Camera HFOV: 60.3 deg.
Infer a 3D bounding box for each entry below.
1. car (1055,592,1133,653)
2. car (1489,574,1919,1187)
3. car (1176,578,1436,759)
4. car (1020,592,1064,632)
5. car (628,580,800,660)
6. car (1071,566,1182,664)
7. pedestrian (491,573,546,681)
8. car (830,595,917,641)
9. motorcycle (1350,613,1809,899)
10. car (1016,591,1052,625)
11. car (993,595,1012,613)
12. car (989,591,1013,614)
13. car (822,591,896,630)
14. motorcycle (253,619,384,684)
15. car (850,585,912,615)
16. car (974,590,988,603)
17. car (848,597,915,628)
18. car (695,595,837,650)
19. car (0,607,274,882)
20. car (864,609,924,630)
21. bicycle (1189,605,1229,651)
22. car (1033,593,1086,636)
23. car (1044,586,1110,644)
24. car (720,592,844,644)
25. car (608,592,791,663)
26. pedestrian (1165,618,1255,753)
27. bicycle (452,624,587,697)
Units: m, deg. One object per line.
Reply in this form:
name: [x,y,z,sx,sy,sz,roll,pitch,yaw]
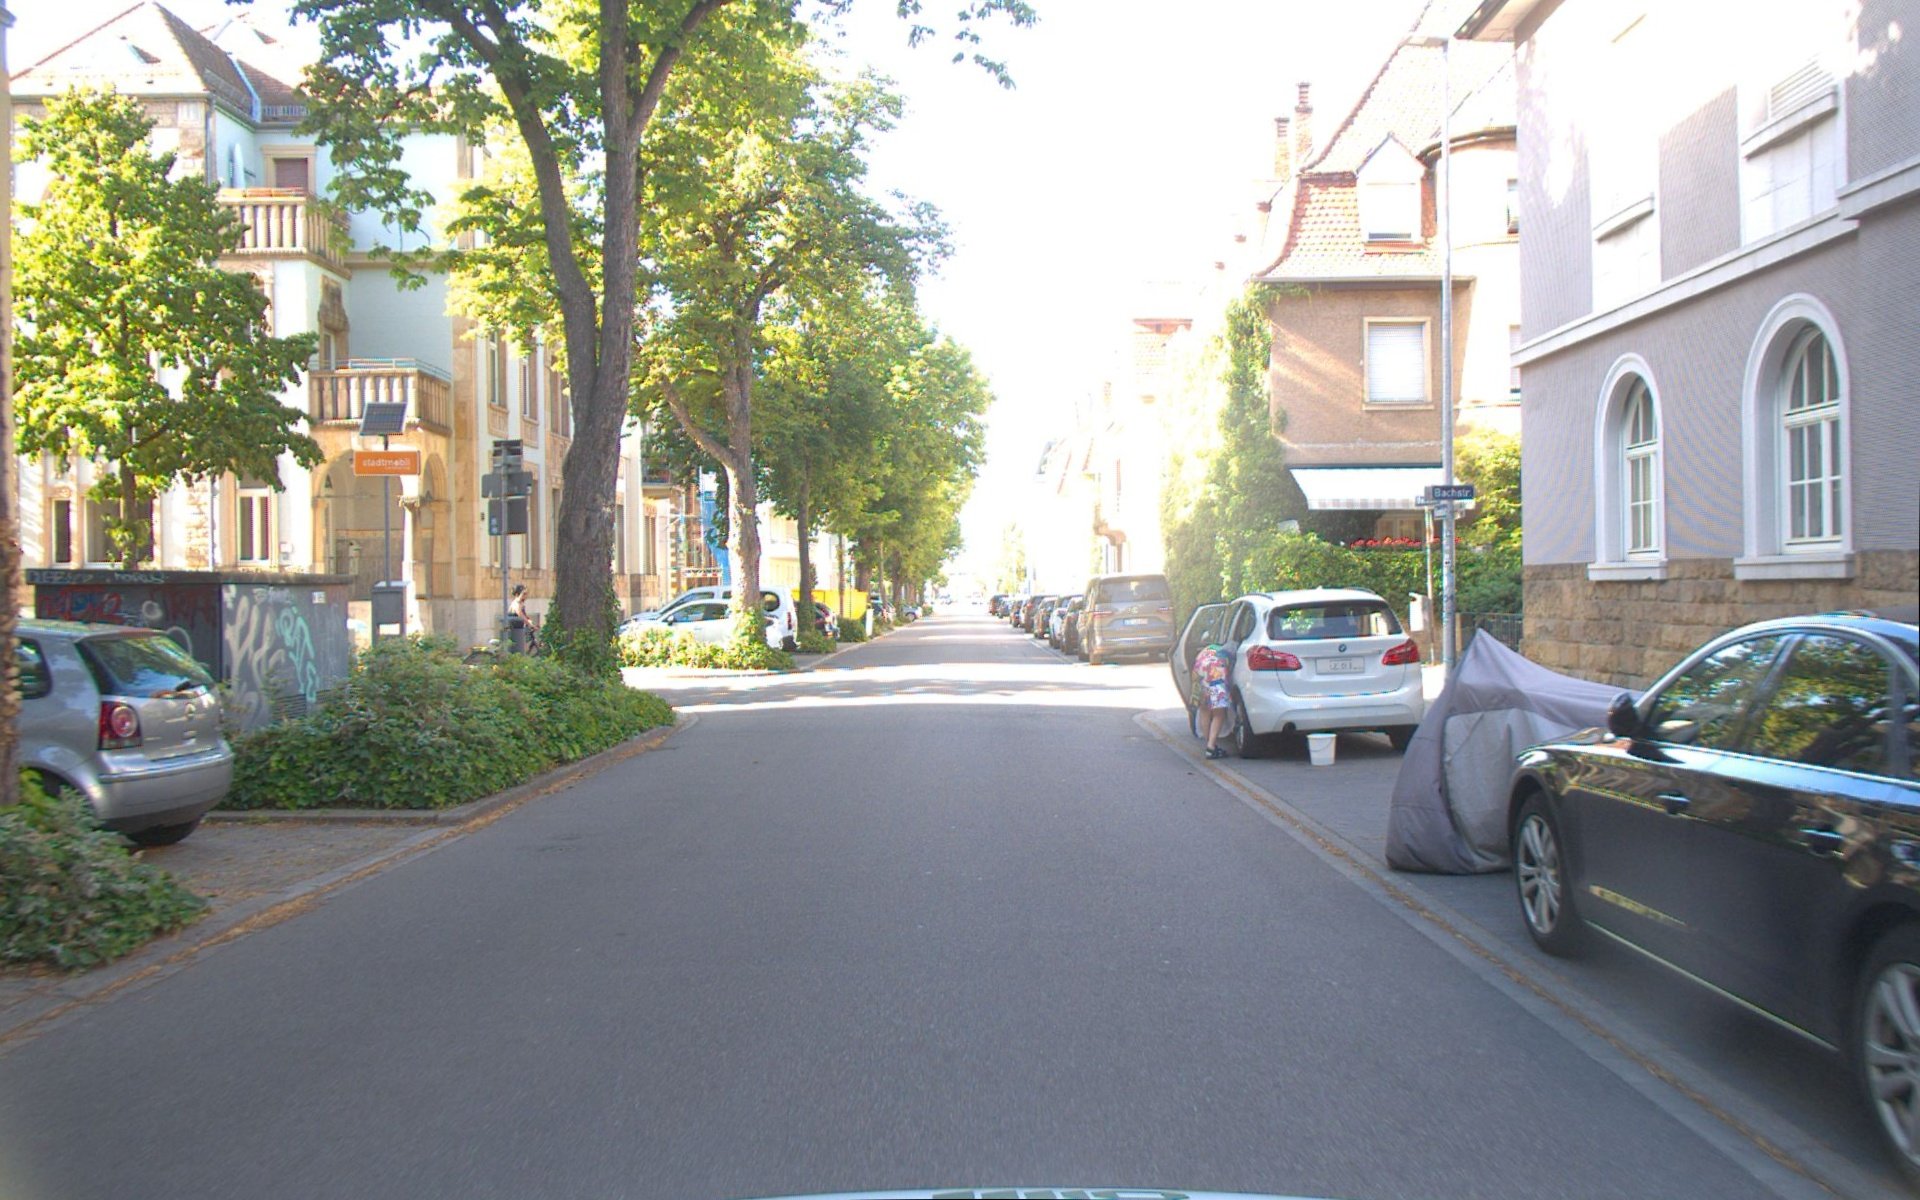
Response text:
car: [3.446,0.554,43.052,1.656,1.423,3.805,-4,0,0]
car: [3.337,0.690,5.307,1.816,1.519,4.608,-2,0,1]
car: [3.449,0.622,17.260,1.665,1.566,4.154,-3,0,-2]
car: [3.517,0.479,71.462,1.734,1.660,3.867,-1,0,1]
car: [-5.874,0.488,39.850,3.908,1.791,1.796,1,-1,-4]
car: [3.591,0.298,36.485,1.866,1.903,4.673,-4,0,0]
pedestrian: [-7.253,0.433,27.202,0.617,1.724,0.652,-2,0,4]
car: [-4.105,0.850,77.811,3.912,2.049,1.996,-1,-2,-8]
motorcycle: [3.309,0.775,8.918,2.154,1.362,0.919,-2,-1,33]
car: [3.730,0.370,83.857,1.734,1.660,3.867,-1,0,1]
car: [3.983,0.374,154.429,1.734,1.660,3.867,-1,0,1]
car: [3.097,0.184,125.552,1.734,1.660,3.867,-1,0,1]
car: [-5.533,0.575,90.463,3.912,2.049,1.996,-1,0,-8]
motorcycle: [-12.248,0.987,31.614,2.164,1.197,0.899,-1,-2,9]
car: [-5.298,-0.012,111.122,3.923,1.873,2.001,2,1,2]
car: [2.771,-0.441,217.392,1.734,1.660,3.867,-1,0,1]
car: [-4.838,0.778,101.770,3.923,1.765,1.895,2,1,2]
car: [-5.668,0.647,48.673,3.904,1.495,1.864,-1,1,2]
car: [-6.285,0.812,9.975,3.599,1.513,1.641,0,0,-1]
car: [-4.679,1.360,116.876,3.902,1.434,1.703,-1,0,15]
bicycle: [5.856,0.641,39.022,0.576,1.041,2.370,-1,0,0]
car: [3.576,0.513,59.948,1.734,1.480,3.867,-1,0,1]
car: [3.430,0.417,48.998,1.752,1.646,3.867,-1,0,1]
car: [-5.778,0.570,53.592,3.912,1.579,1.834,-1,0,-8]
car: [-5.854,0.619,37.547,3.908,1.490,1.796,1,-1,-4]
pedestrian: [2.459,0.829,16.319,0.710,1.279,0.645,-2,0,-7]
bicycle: [-7.229,0.993,27.199,1.949,1.084,0.760,-2,1,4]
